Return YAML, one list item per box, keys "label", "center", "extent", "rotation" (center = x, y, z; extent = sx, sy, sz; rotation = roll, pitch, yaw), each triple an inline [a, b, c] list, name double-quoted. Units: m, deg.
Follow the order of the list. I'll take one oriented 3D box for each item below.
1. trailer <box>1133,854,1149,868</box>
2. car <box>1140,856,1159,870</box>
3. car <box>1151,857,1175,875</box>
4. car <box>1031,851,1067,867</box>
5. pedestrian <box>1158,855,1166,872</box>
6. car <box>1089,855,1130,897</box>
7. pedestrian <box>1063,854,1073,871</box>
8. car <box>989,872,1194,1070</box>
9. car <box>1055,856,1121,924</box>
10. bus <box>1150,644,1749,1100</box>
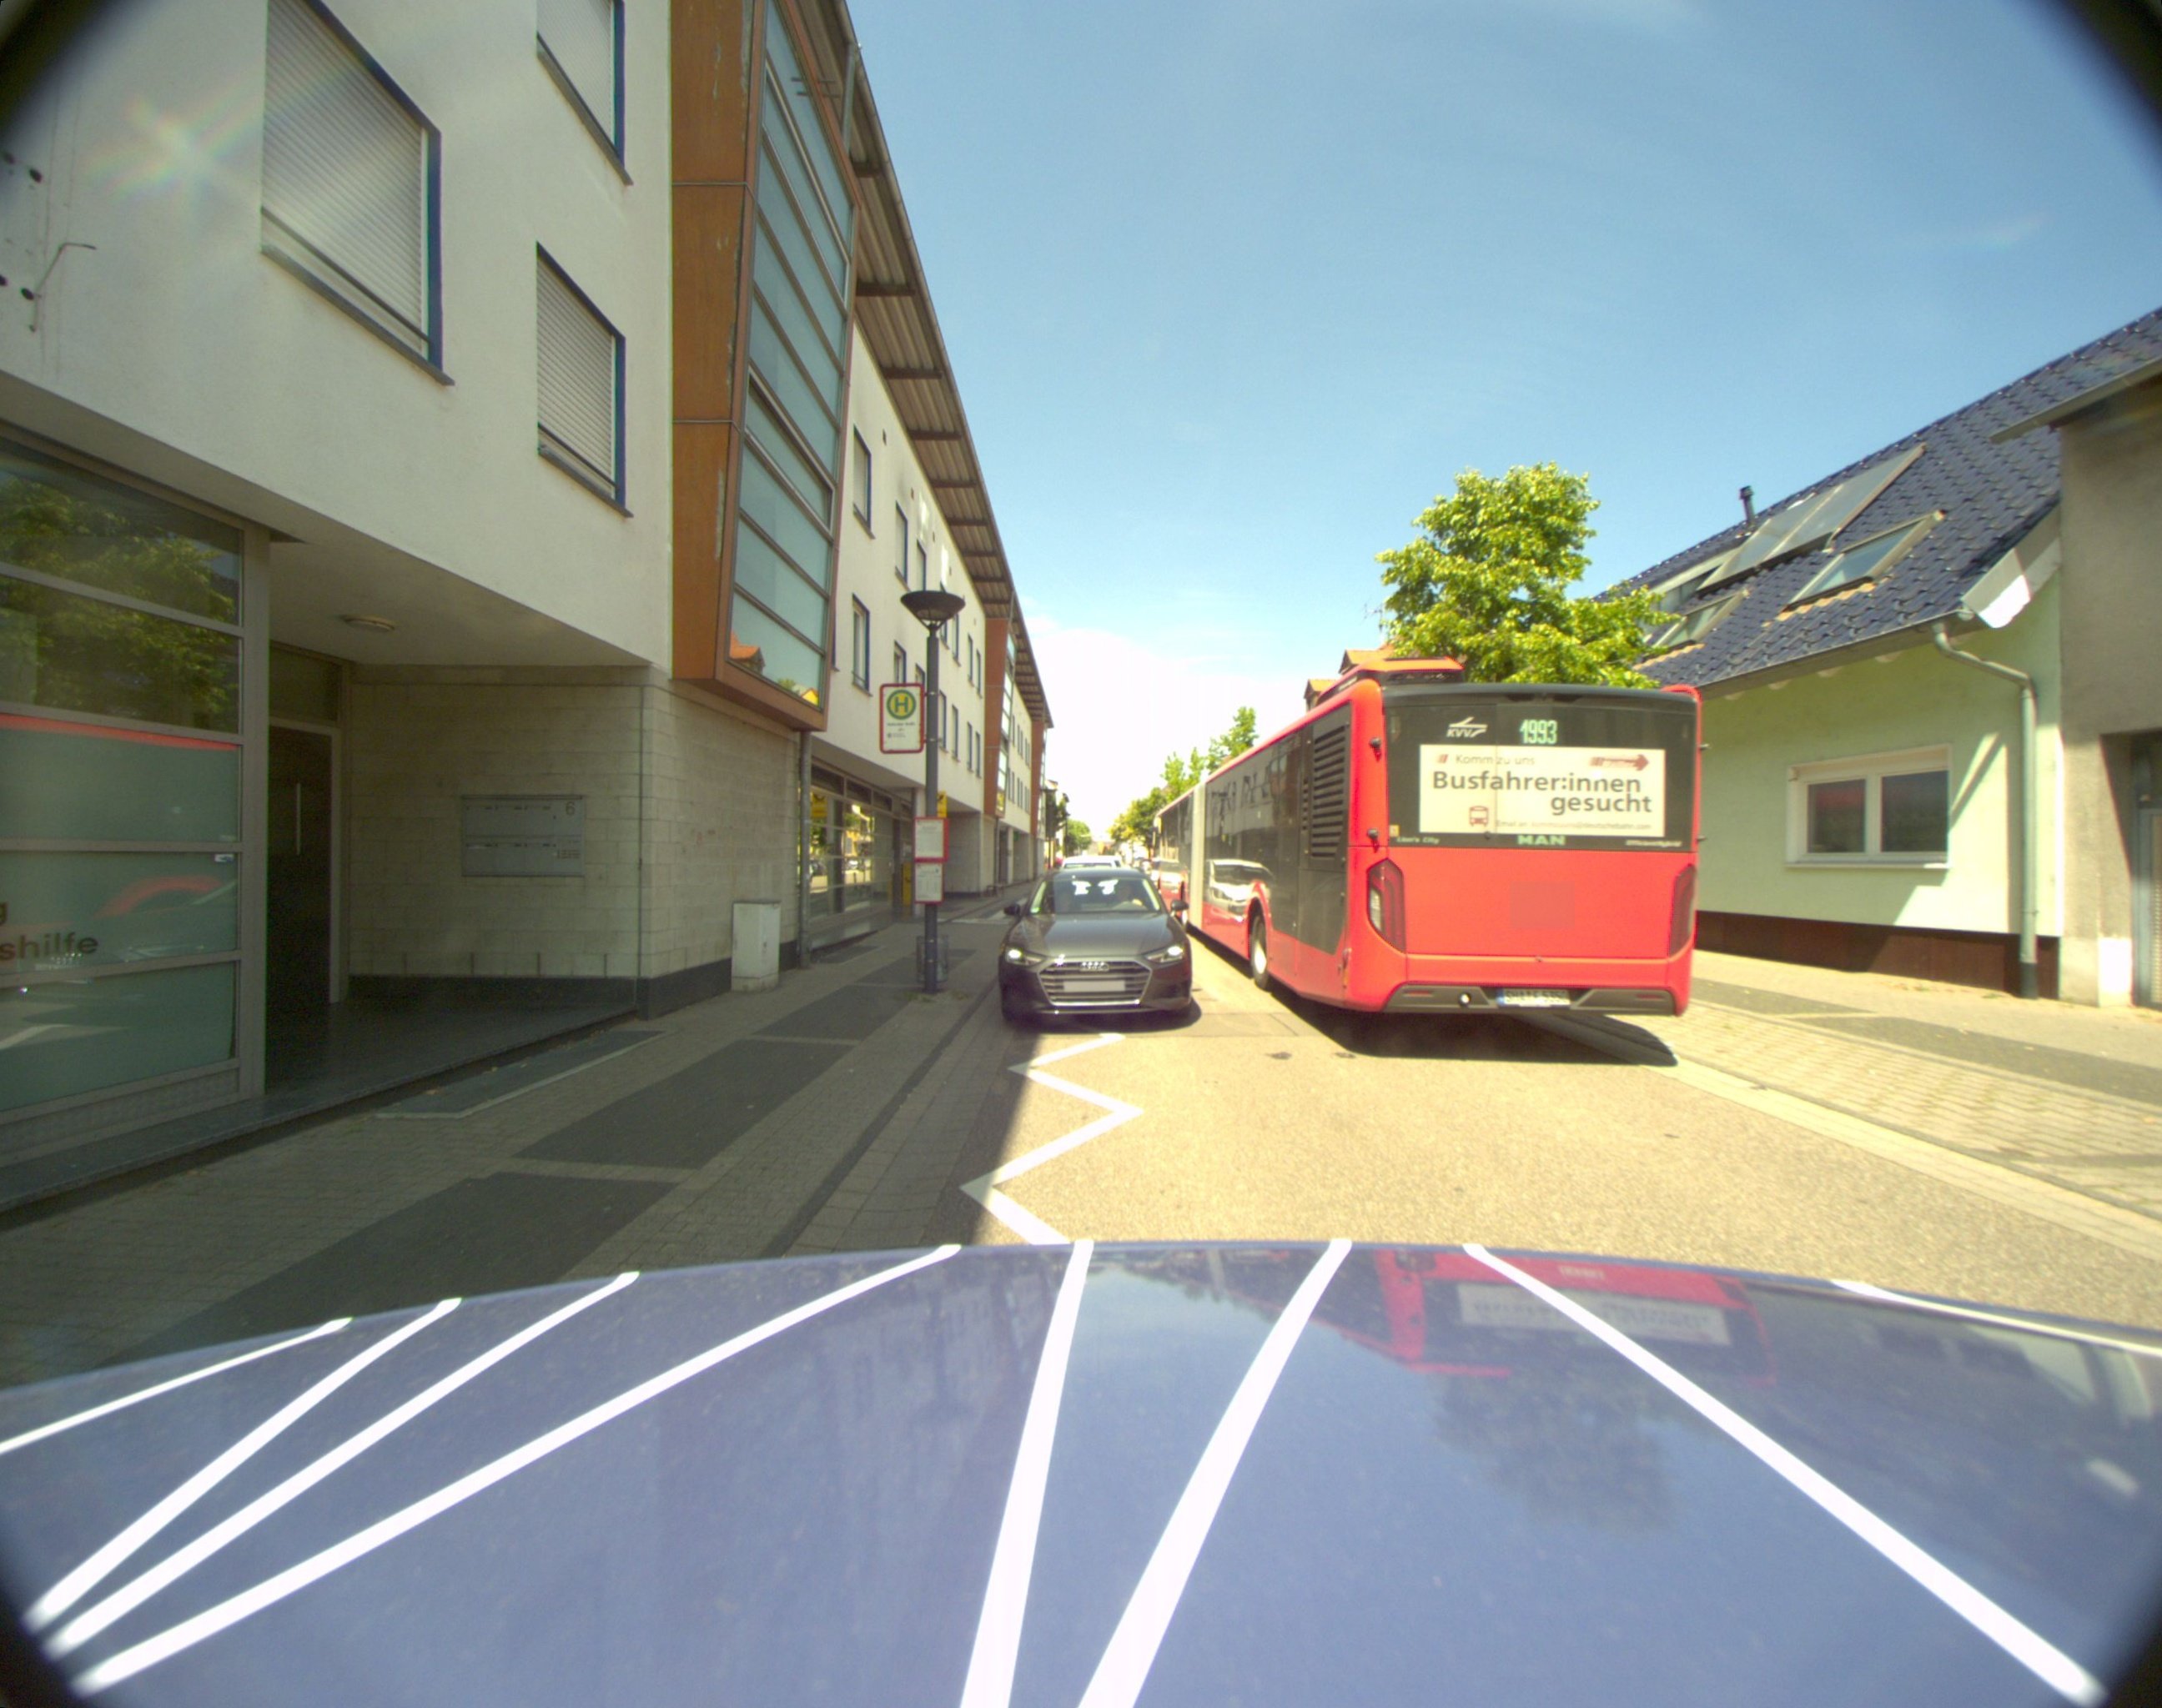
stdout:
- label: "trailer"
  center: [7.529, 0.886, 95.566]
  extent: [1.493, 1.571, 3.883]
  rotation: [-2, 0, -1]
- label: "car"
  center: [7.448, 0.969, 83.008]
  extent: [1.753, 1.566, 4.158]
  rotation: [0, 0, 1]
- label: "car"
  center: [6.814, 0.979, 63.467]
  extent: [1.660, 1.399, 4.158]
  rotation: [0, 0, 1]
- label: "car"
  center: [-3.871, 0.569, 92.428]
  extent: [4.203, 1.849, 2.000]
  rotation: [1, 0, 0]
- label: "pedestrian"
  center: [7.646, 0.897, 71.745]
  extent: [0.631, 1.592, 0.528]
  rotation: [0, 0, 1]
- label: "car"
  center: [1.137, 0.865, 31.581]
  extent: [1.581, 1.620, 4.065]
  rotation: [1, 0, 1]
- label: "pedestrian"
  center: [-1.262, 0.830, 72.966]
  extent: [0.825, 1.579, 0.919]
  rotation: [3, 0, 1]
- label: "car"
  center: [0.109, 0.975, 8.024]
  extent: [1.581, 1.424, 4.065]
  rotation: [-2, 0, 1]
- label: "car"
  center: [0.187, 0.867, 20.377]
  extent: [1.581, 1.620, 4.065]
  rotation: [1, 0, 1]
- label: "bus"
  center: [3.355, 0.133, 14.166]
  extent: [2.675, 3.105, 17.807]
  rotation: [1, 0, 1]
